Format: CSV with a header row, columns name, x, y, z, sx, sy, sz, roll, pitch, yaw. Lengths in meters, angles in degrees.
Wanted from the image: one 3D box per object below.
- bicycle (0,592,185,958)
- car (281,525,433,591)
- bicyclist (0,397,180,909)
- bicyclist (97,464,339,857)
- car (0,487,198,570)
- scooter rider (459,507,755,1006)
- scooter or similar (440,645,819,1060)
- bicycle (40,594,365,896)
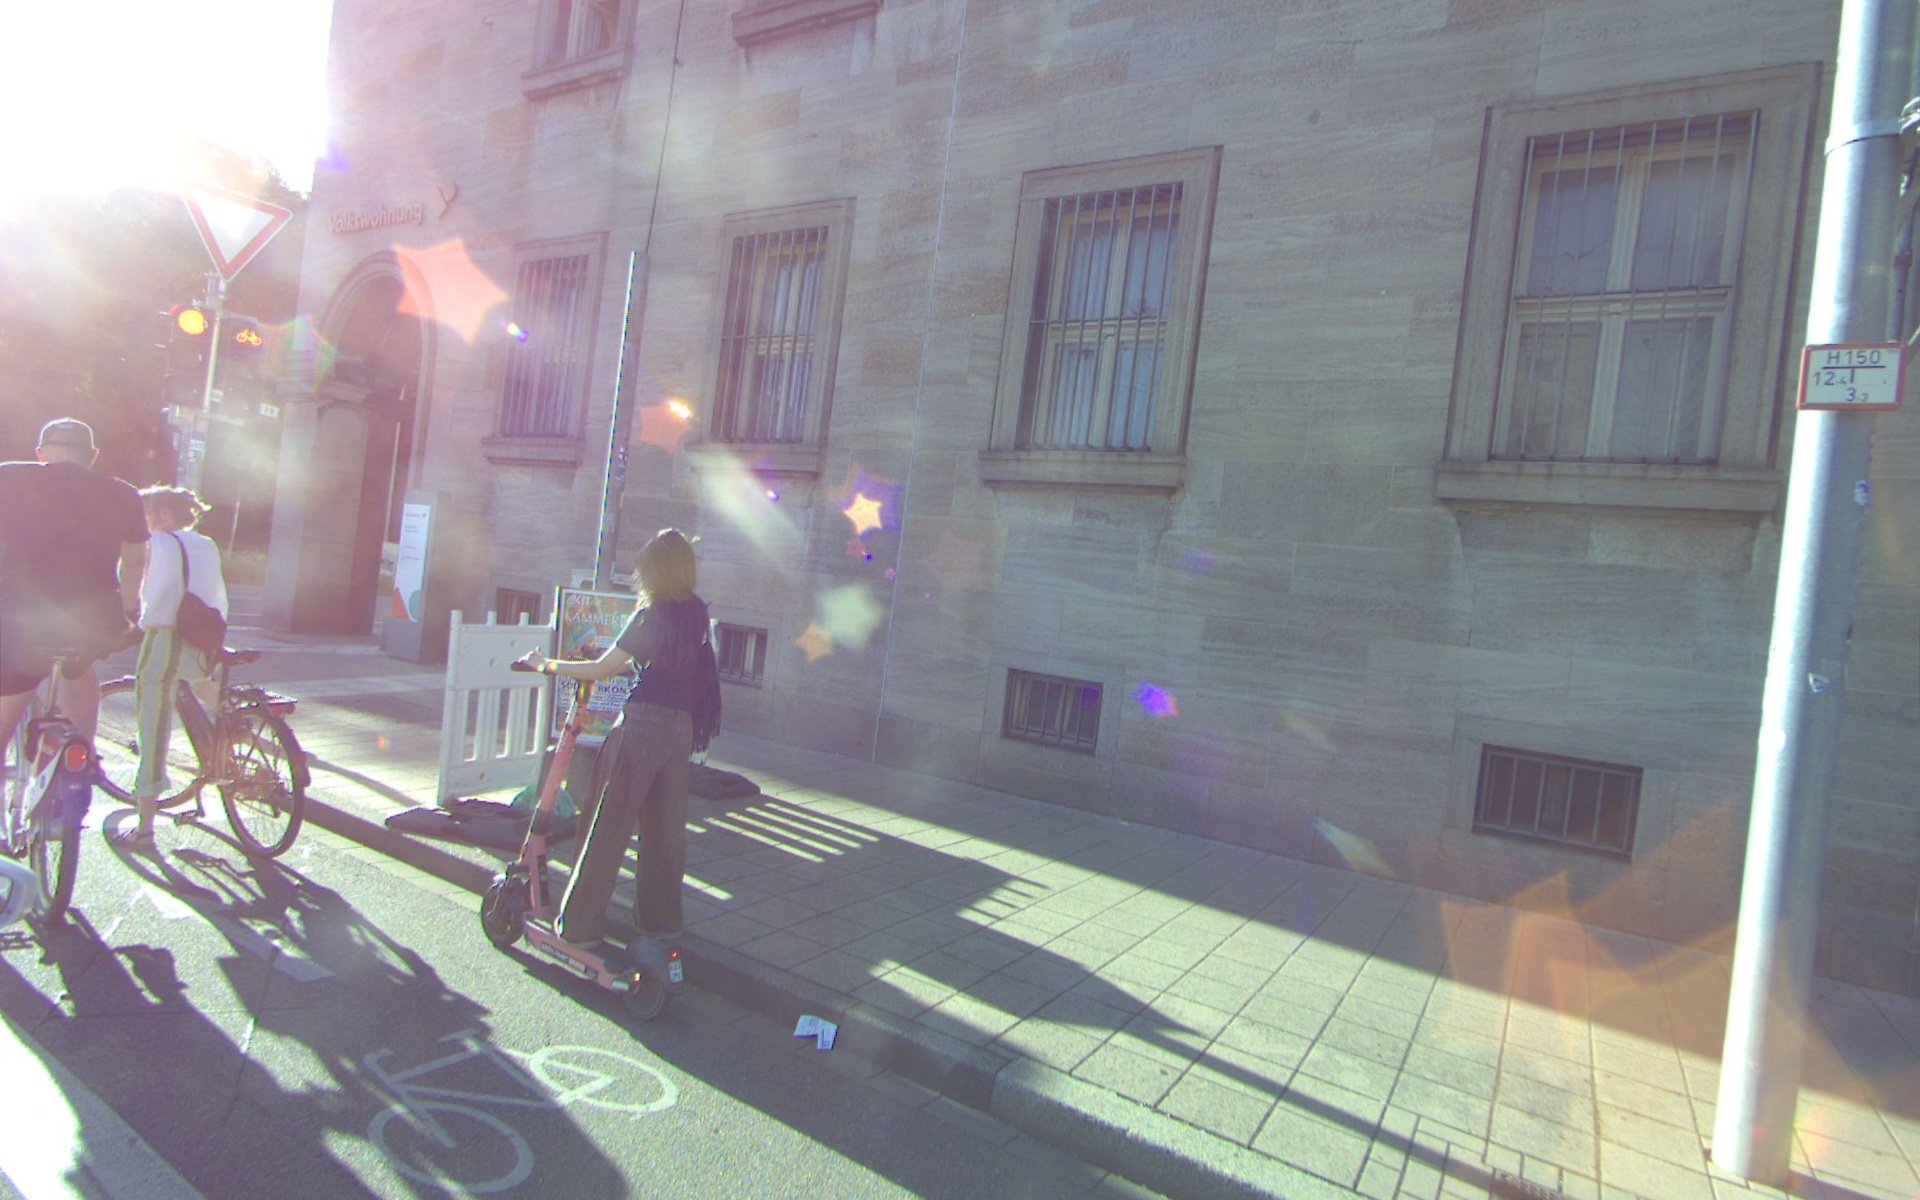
name,x,y,z,sx,sy,sz,roll,pitch,yaw
bicycle,-3.733,0.576,3.922,1.700,1.090,0.516,7,-1,34
car,-19.726,-1.339,33.044,1.623,1.630,3.854,7,-1,31
bicyclist,-3.544,0.194,3.852,0.541,1.820,0.559,7,-1,33
bicyclist,-3.531,0.267,4.802,0.629,1.711,0.558,7,-1,30
car,-23.367,-1.892,27.195,1.623,1.630,3.999,7,-1,31
scooter rider,-1.343,0.551,3.895,0.547,1.691,0.730,7,0,30
scooter or similar,-1.280,0.857,3.838,1.305,1.199,0.535,7,0,31
bicycle,-3.677,0.623,4.840,1.721,1.090,0.535,7,-1,31
